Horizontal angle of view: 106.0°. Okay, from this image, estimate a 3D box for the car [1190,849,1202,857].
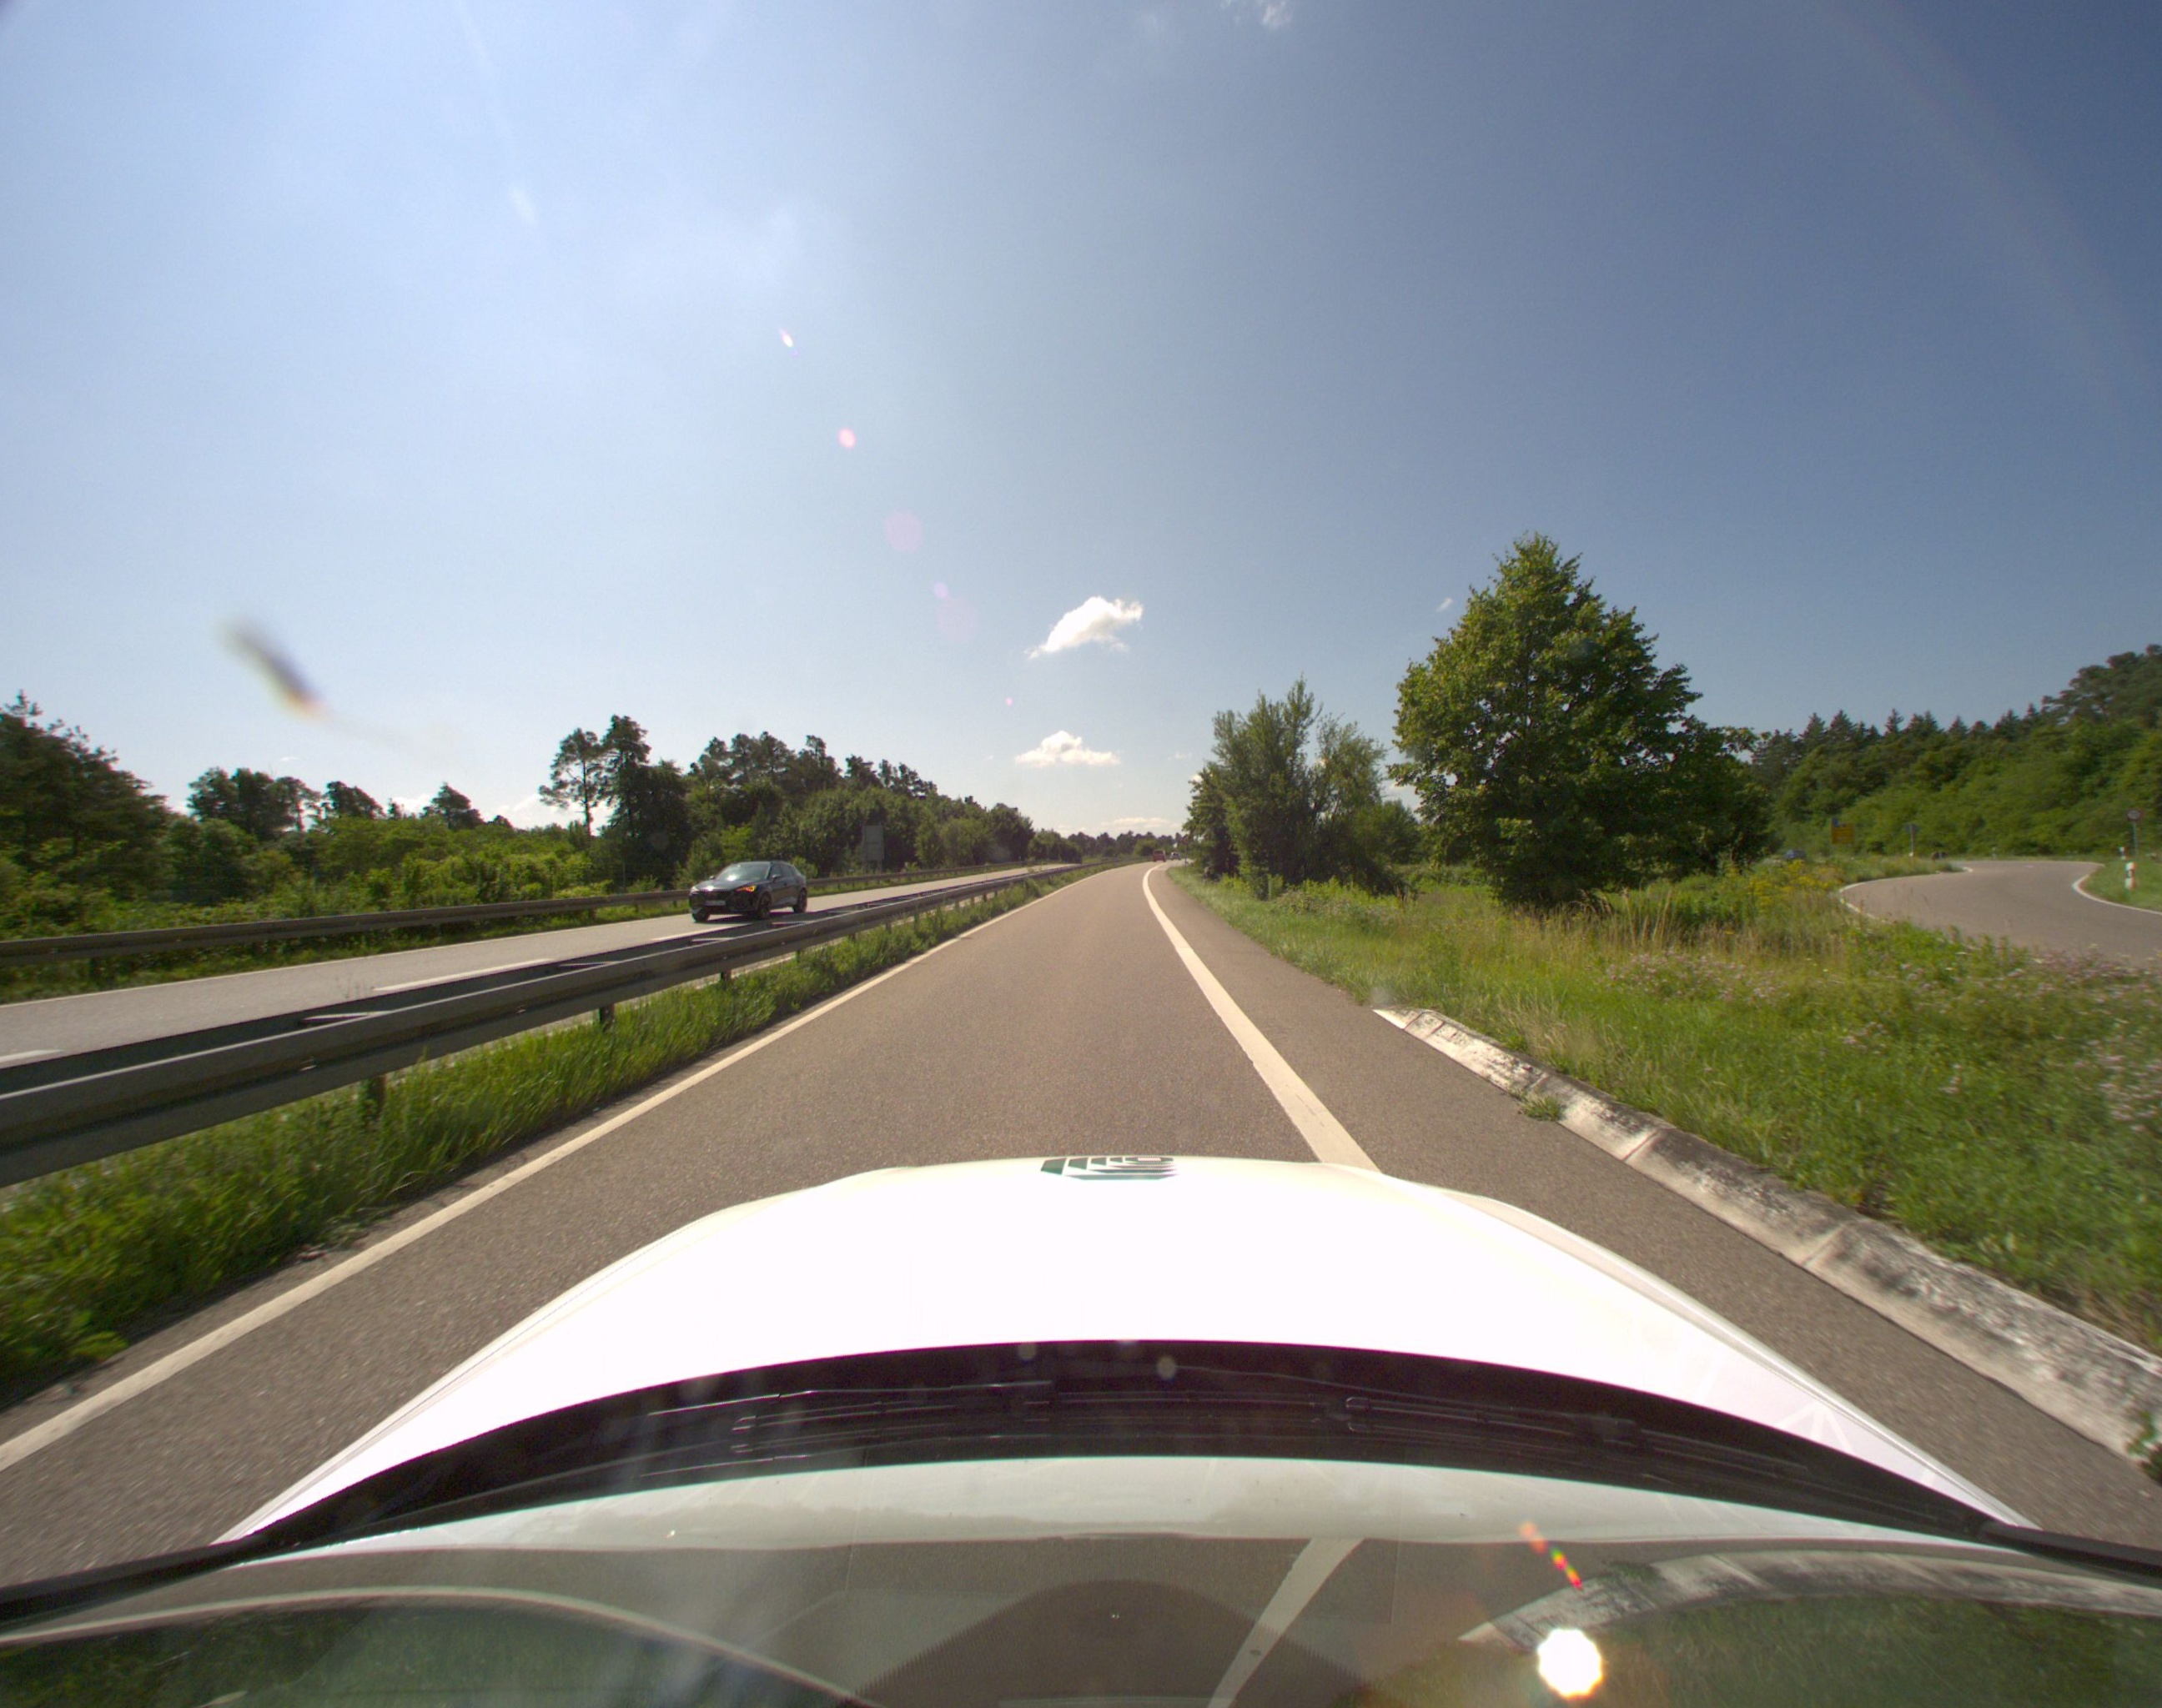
[{"bbox_3d":[29.215,-0.276,207.112,2.168,1.955,5.827,-1,-1,15],"label":"car"}]

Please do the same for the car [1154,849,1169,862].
[{"bbox_3d":[13.156,0.218,132.465,2.064,1.993,5.126,-1,-1,10],"label":"car"}]

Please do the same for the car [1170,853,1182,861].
[{"bbox_3d":[18.256,0.558,156.312,1.995,1.494,4.250,-1,-1,10],"label":"car"}]

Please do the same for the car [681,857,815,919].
[{"bbox_3d":[-8.943,0.846,22.317,1.749,1.501,4.574,-1,0,0],"label":"car"}]
